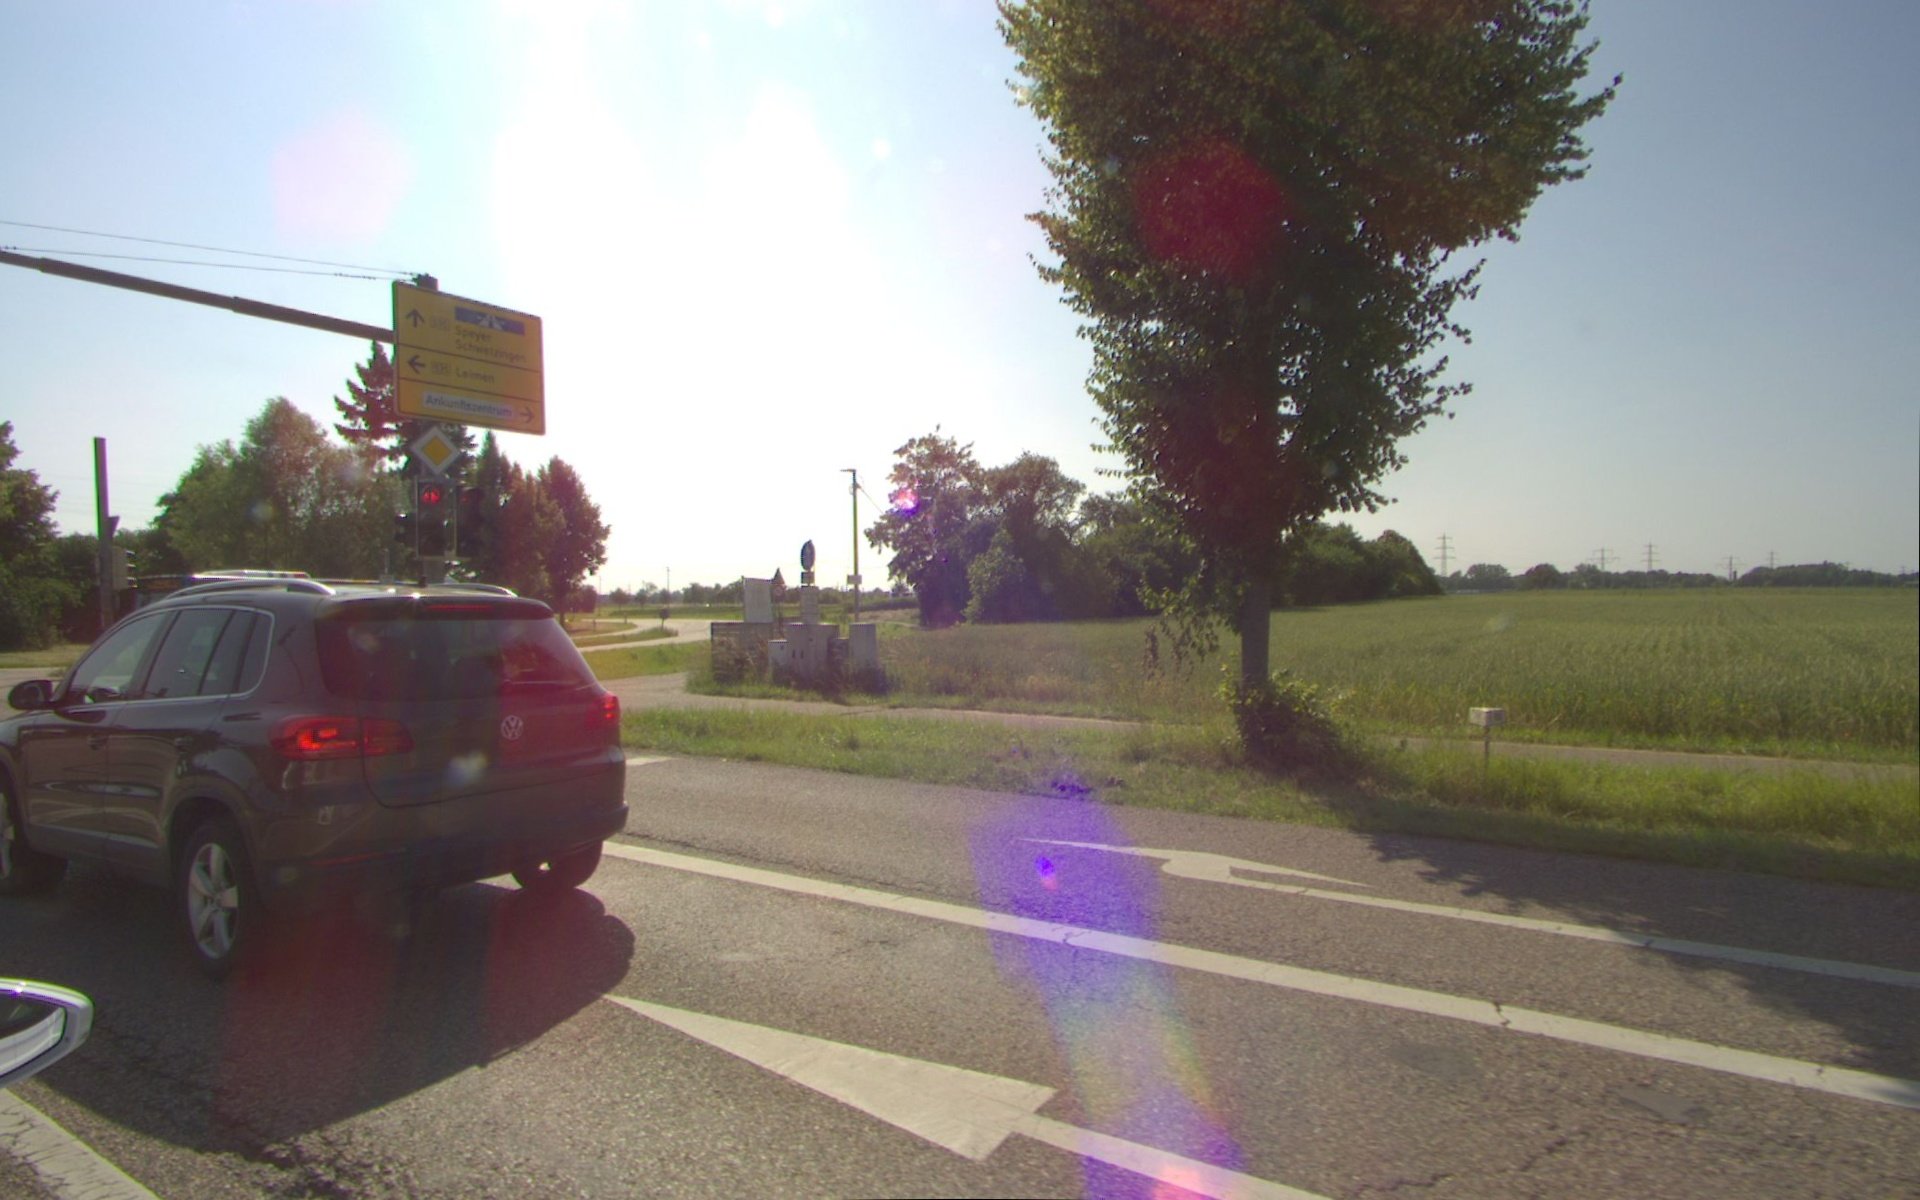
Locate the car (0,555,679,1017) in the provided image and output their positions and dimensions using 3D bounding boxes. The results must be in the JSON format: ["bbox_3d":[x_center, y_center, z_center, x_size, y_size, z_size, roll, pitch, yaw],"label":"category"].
[{"bbox_3d":[-3.636,0.723,5.479,4.086,1.677,1.753,-1,-2,32],"label":"car"}]

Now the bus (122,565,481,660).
[{"bbox_3d":[-23.446,0.349,37.093,2.889,2.916,11.955,-1,0,17],"label":"bus"}]
